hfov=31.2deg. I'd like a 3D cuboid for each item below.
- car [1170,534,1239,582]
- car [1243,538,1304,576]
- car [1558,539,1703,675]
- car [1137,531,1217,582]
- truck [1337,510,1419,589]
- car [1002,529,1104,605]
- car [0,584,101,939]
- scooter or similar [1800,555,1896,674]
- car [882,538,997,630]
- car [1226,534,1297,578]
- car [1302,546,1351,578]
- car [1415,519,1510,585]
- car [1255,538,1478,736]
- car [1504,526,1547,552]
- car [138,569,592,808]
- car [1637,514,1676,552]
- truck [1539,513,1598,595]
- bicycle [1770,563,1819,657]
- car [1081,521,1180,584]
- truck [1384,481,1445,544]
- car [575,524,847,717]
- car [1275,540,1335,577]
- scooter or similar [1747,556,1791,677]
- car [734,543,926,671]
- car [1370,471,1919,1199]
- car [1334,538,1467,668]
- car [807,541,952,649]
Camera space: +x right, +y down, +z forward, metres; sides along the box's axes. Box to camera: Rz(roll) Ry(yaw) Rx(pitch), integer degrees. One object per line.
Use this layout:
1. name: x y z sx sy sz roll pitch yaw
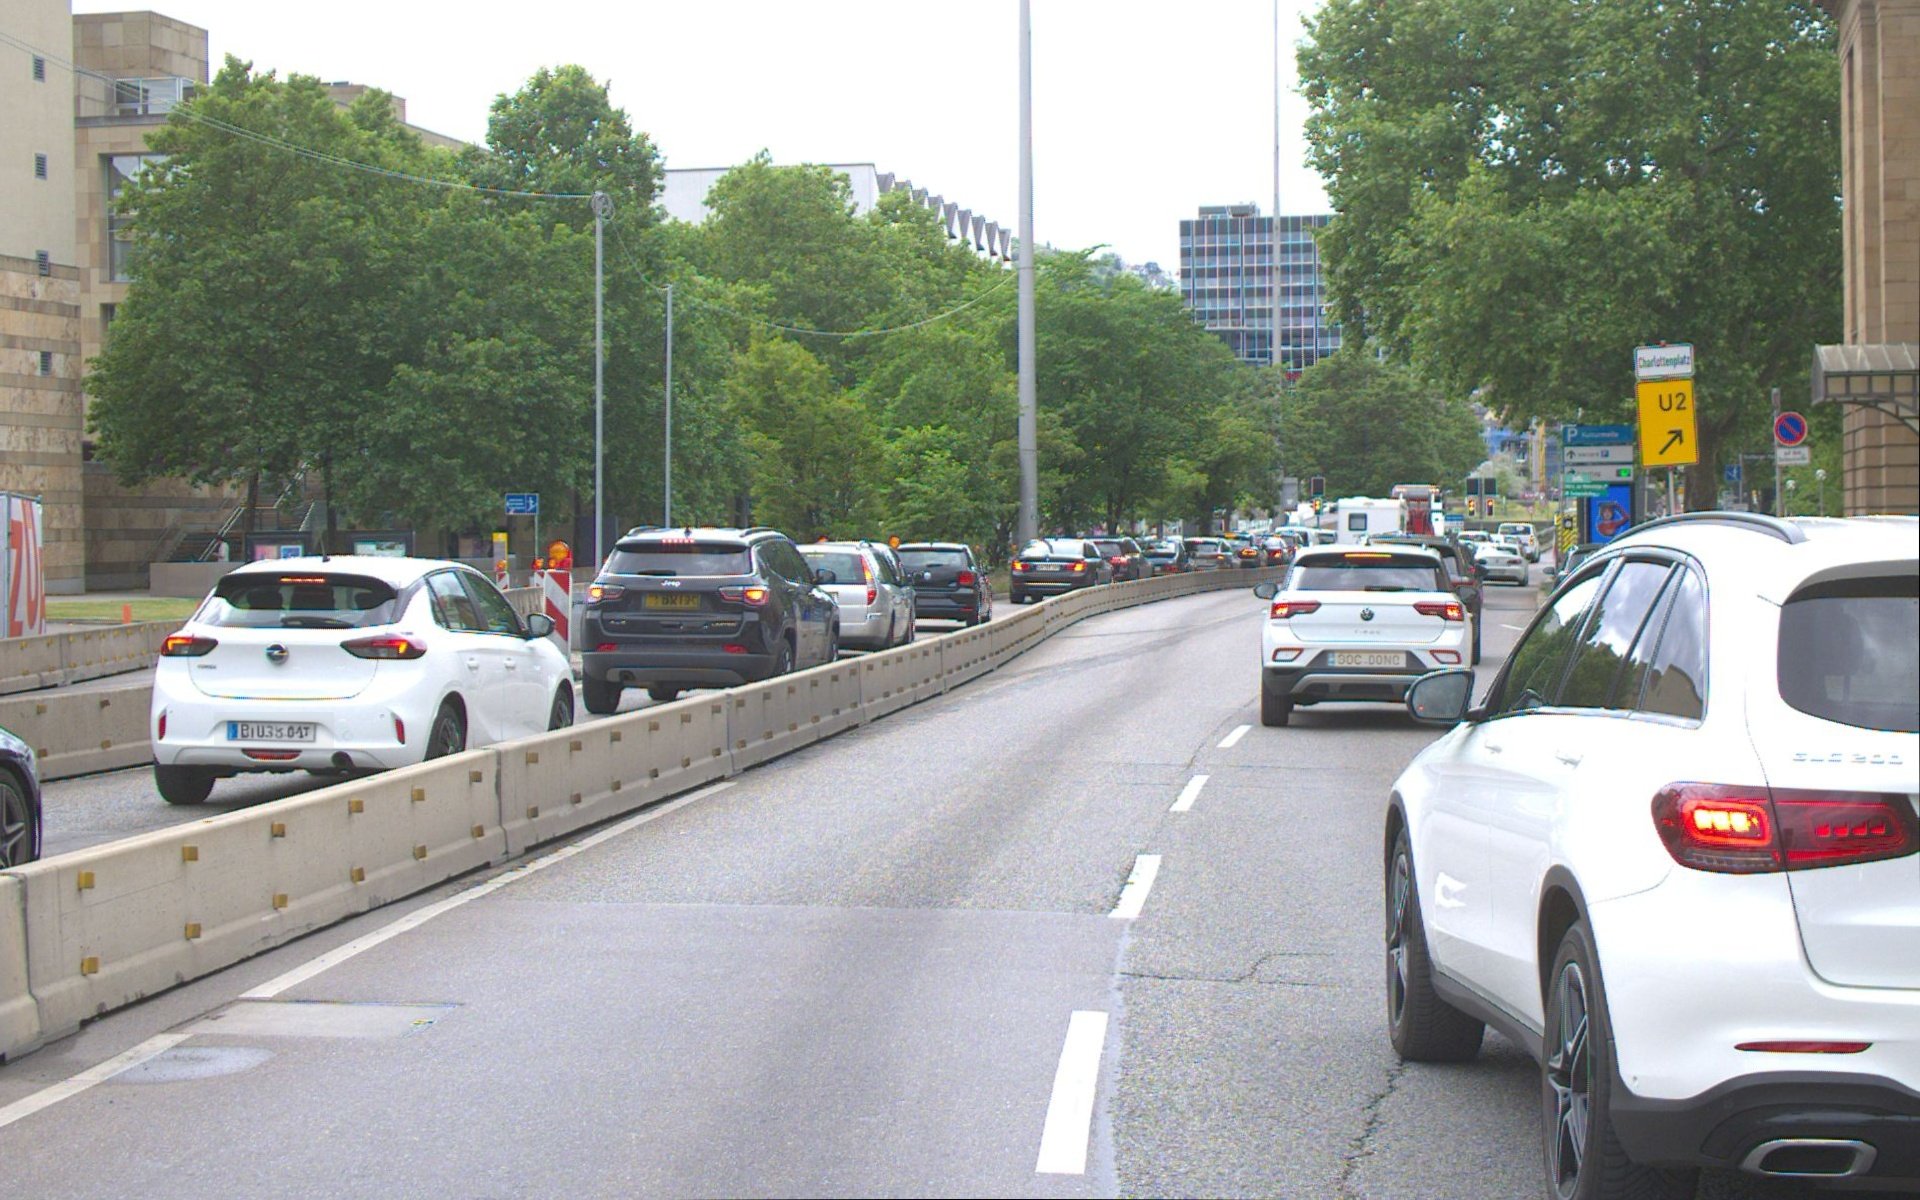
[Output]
1. car: 7.501 -1.289 105.252 1.662 1.431 3.958 1 1 11
2. car: 11.105 -1.519 121.673 1.660 1.315 3.545 1 1 13
3. car: 8.304 0.050 42.766 1.546 1.546 3.707 -3 1 9
4. car: 6.069 -1.224 95.733 1.679 1.362 4.541 0 1 11
5. truck: 15.899 -1.943 130.320 2.622 2.851 7.076 1 1 10
6. car: 2.116 -0.749 77.059 1.924 1.630 4.935 1 1 6
7. car: -4.953 0.660 12.698 1.855 1.410 4.564 1 1 8
8. scooter or similar: 9.446 0.157 36.620 0.451 1.248 1.369 0 0 -10
9. car: -0.313 -0.282 57.131 1.659 1.449 4.198 1 1 3
10. car: 9.945 -1.451 113.218 1.777 1.415 3.998 0 1 13
11. car: 15.374 -1.594 144.275 1.660 1.315 3.545 1 1 12
12. car: 11.385 -1.087 78.052 1.924 1.438 3.965 1 1 6
13. car: 3.547 0.272 30.101 1.796 1.603 3.754 -1 1 7
14. car: 28.692 -3.082 174.272 1.948 1.315 4.014 1 1 12
15. car: -3.512 0.471 21.001 1.726 1.291 3.934 1 1 6
16. car: 38.316 -3.675 189.109 1.994 2.007 3.998 1 1 12
17. truck: 31.628 -2.415 178.657 2.878 4.089 6.635 1 1 10
18. bicycle: 10.455 0.113 43.081 0.460 1.152 1.830 0 1 9
19. car: 4.246 -1.181 85.134 1.817 1.494 4.767 0 1 11
20. truck: 22.946 -4.375 173.390 2.693 2.981 5.635 2 1 10
21. car: -2.184 0.151 31.202 1.776 1.615 4.045 1 1 6
22. car: 12.673 -1.515 126.239 1.660 1.315 3.545 1 1 14
23. scooter or similar: 8.661 0.165 36.825 0.380 1.257 1.403 0 1 10
24. car: -1.555 0.045 42.927 1.878 1.476 4.704 1 1 4
25. car: 2.214 0.557 8.671 1.788 1.619 4.437 1 1 0
26. car: 5.885 0.008 45.718 1.660 1.633 3.546 1 1 8
27. car: -1.144 -0.099 50.396 1.672 1.501 3.853 1 1 5
